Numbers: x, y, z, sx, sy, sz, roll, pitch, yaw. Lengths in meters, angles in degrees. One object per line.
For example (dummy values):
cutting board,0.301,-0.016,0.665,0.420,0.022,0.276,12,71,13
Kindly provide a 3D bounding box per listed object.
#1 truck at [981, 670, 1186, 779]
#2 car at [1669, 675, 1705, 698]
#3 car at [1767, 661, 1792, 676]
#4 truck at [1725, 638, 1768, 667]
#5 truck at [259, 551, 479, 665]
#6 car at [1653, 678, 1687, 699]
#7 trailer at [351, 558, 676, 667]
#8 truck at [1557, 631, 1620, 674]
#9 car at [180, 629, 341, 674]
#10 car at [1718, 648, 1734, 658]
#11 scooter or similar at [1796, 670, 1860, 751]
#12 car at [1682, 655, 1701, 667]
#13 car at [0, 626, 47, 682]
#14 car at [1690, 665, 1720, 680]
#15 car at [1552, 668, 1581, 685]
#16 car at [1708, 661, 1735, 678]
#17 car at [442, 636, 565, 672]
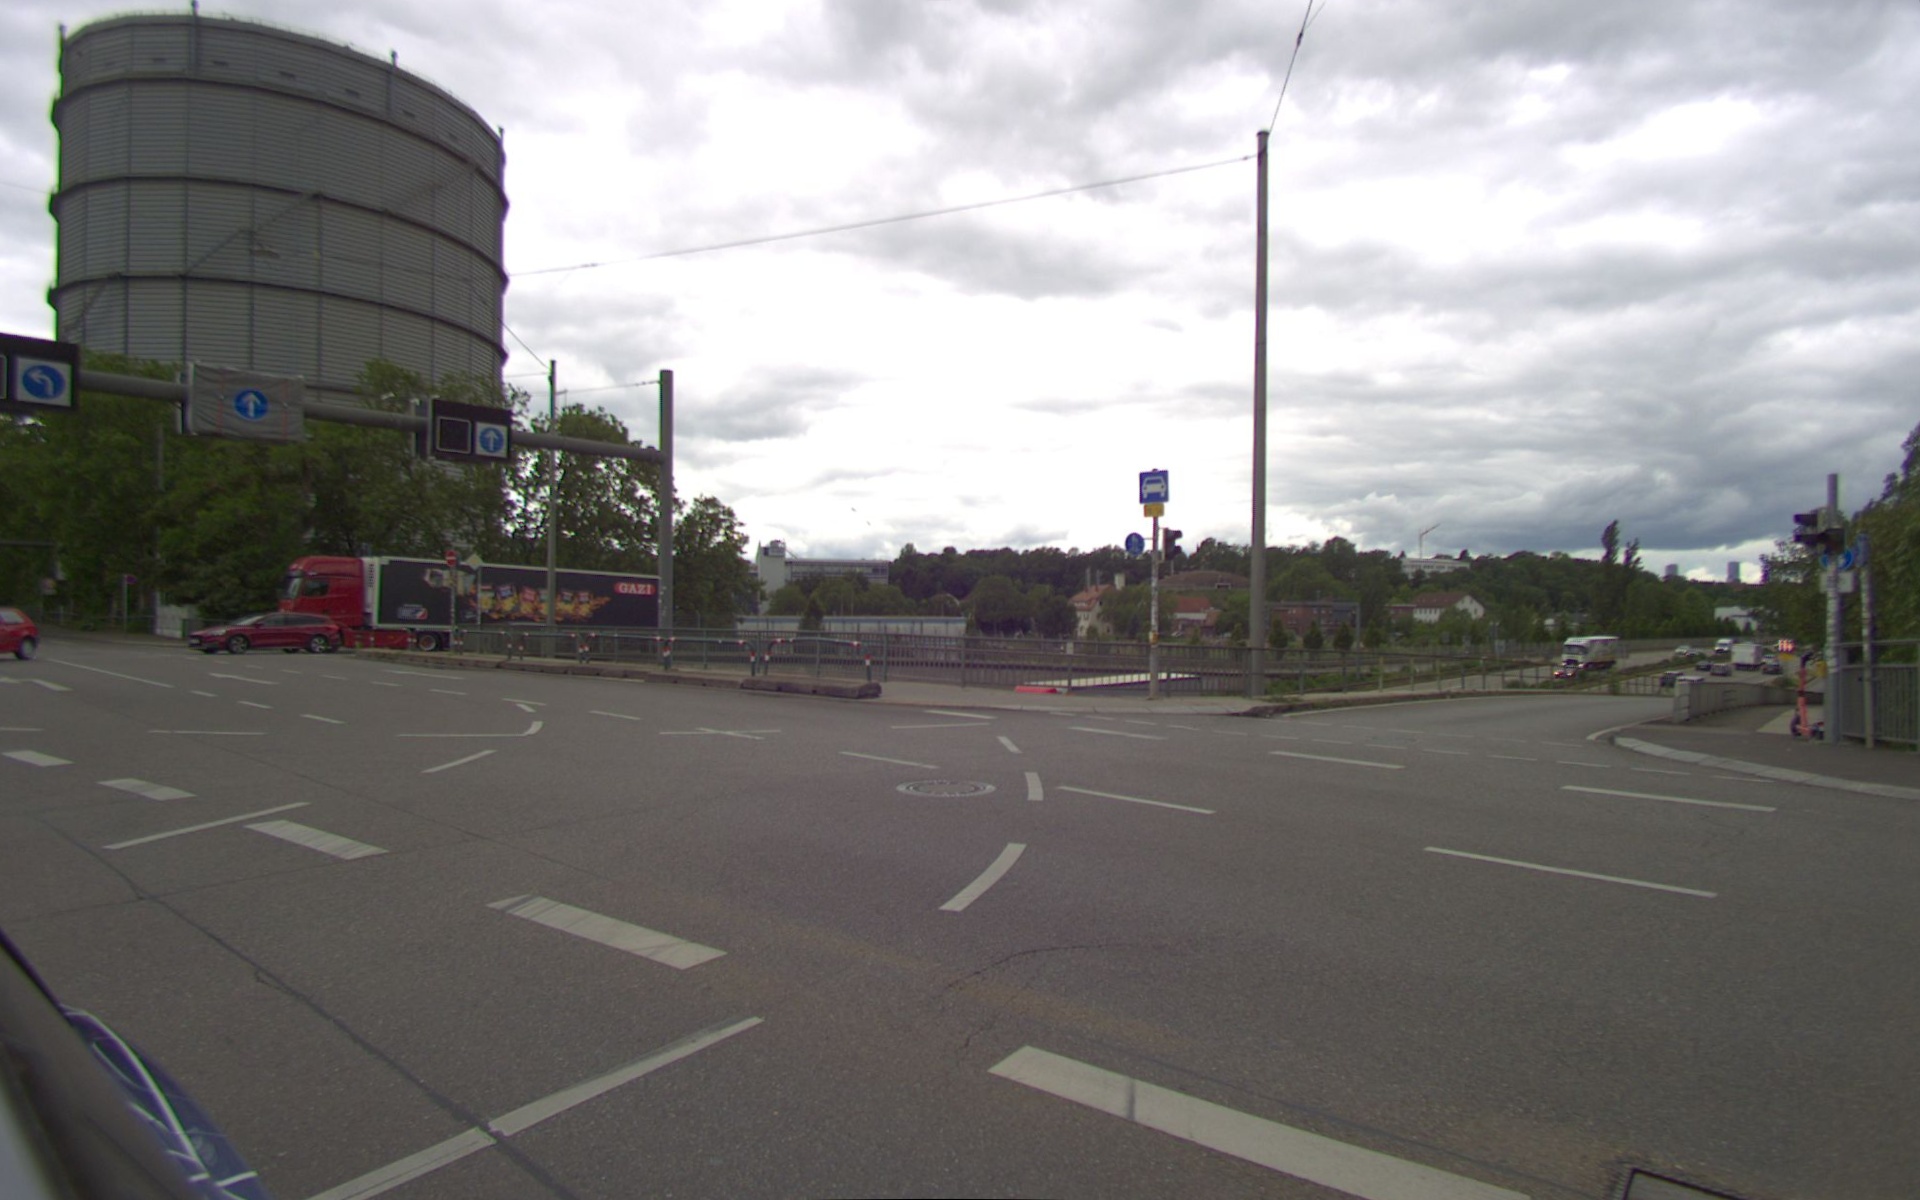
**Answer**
truck,6.741,6.154,52.410,13.059,4.389,2.893,1,-1,-44
car,67.833,8.082,94.395,2.140,1.730,4.361,1,1,44
car,104.871,8.780,129.487,2.140,1.577,4.361,1,1,44
truck,106.876,7.059,137.523,3.597,3.482,8.119,2,0,45
truck,-24.843,0.519,42.853,3.671,4.354,7.133,-2,-5,42
car,71.992,8.990,102.646,2.140,1.730,4.361,1,1,44
trailer,-20.401,0.864,47.644,3.671,4.354,13.587,-2,-5,42
truck,79.933,6.562,128.569,13.727,4.992,3.382,1,-2,-43
car,-24.507,1.771,35.663,1.689,1.431,4.427,-1,-1,26
car,143.370,9.937,189.421,3.585,1.730,1.915,3,-1,-43
scooter or similar,12.167,1.525,14.213,0.483,1.064,1.321,-1,-4,33
car,121.366,10.130,167.836,3.585,1.730,1.915,3,-1,-43
car,-25.965,1.421,26.081,1.720,1.474,3.962,-1,-2,-9
car,98.049,9.544,133.136,4.660,1.730,2.339,1,-3,-44
car,68.256,8.638,113.832,3.585,1.730,1.915,3,-1,-43
car,93.483,8.516,124.199,2.140,1.730,4.361,1,1,44
car,-19.267,2.300,42.840,1.698,1.431,4.403,-2,-4,44
